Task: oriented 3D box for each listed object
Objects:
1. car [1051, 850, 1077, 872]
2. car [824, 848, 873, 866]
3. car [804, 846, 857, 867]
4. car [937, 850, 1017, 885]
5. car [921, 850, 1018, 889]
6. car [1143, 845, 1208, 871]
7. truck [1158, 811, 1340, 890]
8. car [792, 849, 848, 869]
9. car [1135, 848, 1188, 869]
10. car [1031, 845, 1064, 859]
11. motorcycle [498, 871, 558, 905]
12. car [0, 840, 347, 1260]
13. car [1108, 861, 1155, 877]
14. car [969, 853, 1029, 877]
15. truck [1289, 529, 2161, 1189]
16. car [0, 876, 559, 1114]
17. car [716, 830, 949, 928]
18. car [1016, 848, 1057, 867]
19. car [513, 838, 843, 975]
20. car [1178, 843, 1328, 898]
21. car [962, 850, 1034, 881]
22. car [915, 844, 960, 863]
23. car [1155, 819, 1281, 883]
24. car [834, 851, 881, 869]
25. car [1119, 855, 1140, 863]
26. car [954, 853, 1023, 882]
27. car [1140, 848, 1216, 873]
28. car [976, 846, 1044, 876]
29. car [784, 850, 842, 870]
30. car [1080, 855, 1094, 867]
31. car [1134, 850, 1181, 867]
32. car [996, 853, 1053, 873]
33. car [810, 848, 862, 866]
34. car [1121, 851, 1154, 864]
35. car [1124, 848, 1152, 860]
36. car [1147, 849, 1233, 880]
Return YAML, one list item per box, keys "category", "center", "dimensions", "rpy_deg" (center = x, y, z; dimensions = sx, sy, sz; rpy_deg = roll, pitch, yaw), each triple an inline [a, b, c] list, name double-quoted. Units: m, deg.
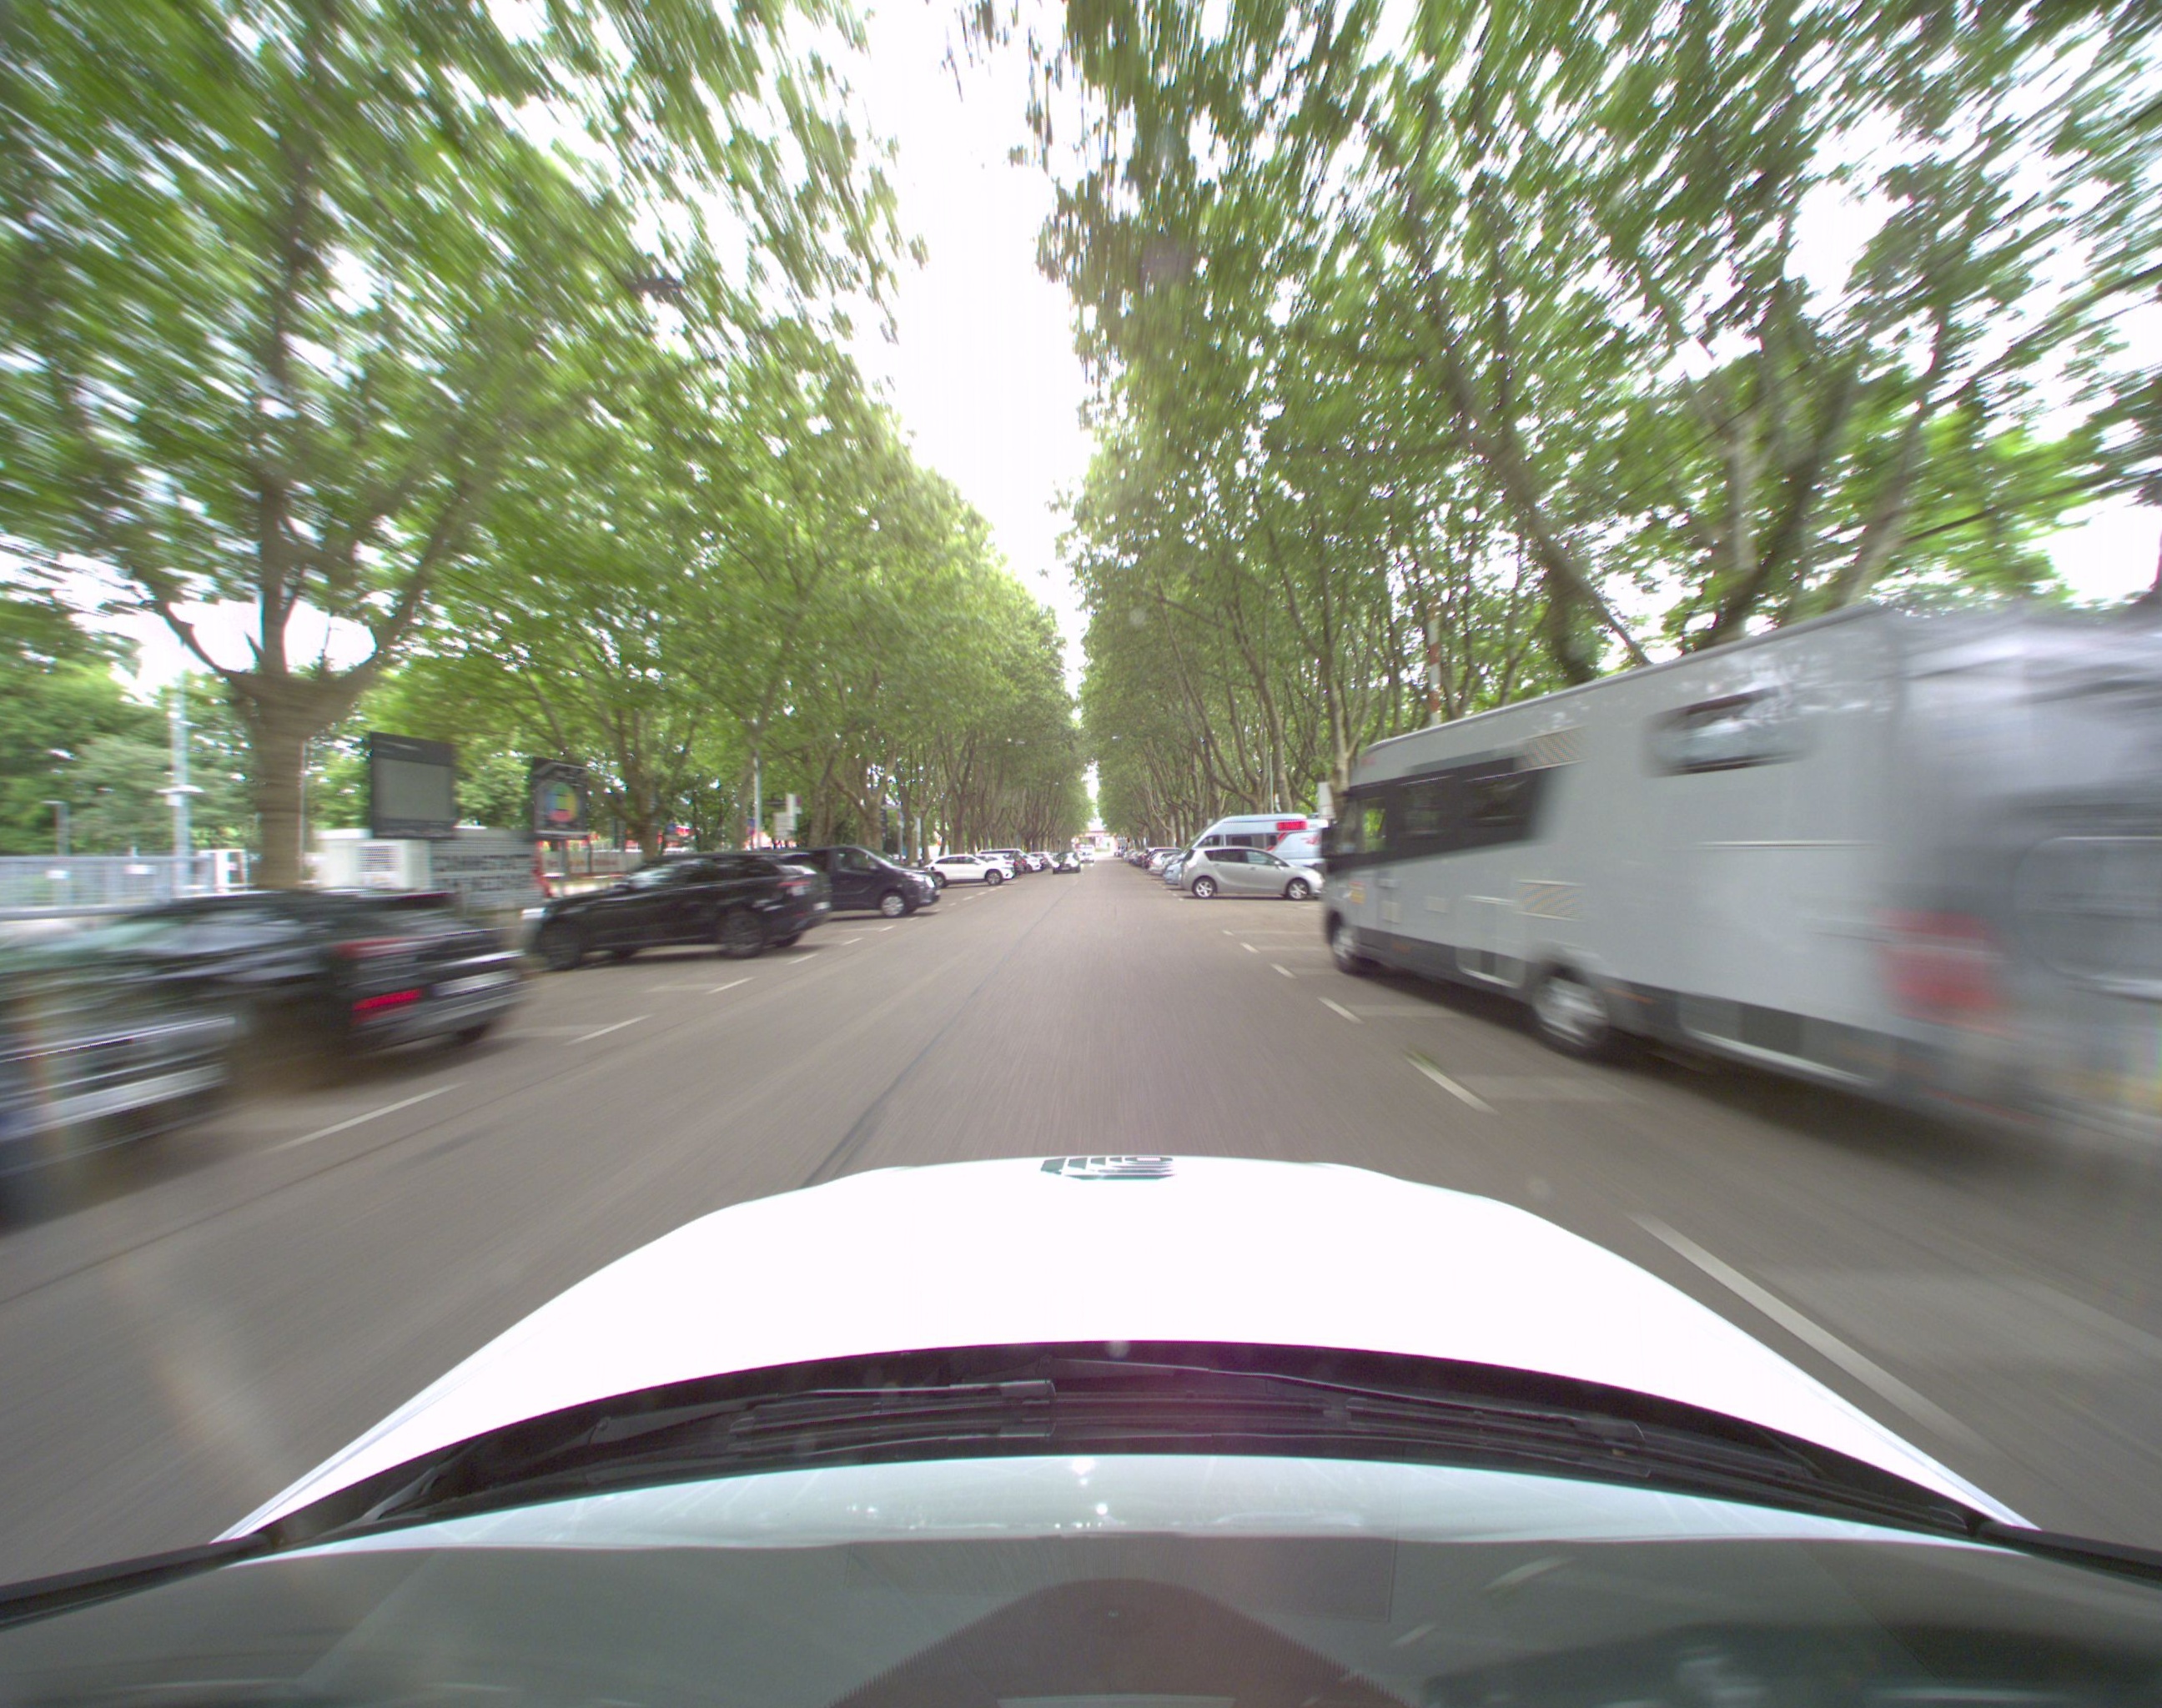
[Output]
- category: "car"
  center: [-1.206, 0.486, 56.837]
  dimensions: [1.650, 1.364, 4.109]
  rpy_deg: [-4, 0, -2]
- category: "car"
  center: [-31.187, 0.365, 109.443]
  dimensions: [5.980, 2.330, 2.000]
  rpy_deg: [-1, 0, 1]
- category: "car"
  center: [-31.426, 0.312, 102.092]
  dimensions: [5.980, 2.527, 2.000]
  rpy_deg: [-1, 0, 1]
- category: "car"
  center: [-6.062, 0.758, 47.744]
  dimensions: [4.327, 1.667, 1.999]
  rpy_deg: [-4, 0, -1]
- category: "car"
  center: [-5.402, 0.752, 39.914]
  dimensions: [4.366, 1.597, 1.999]
  rpy_deg: [-3, 0, -1]
- category: "car"
  center: [6.630, 0.275, 57.490]
  dimensions: [4.371, 1.755, 1.800]
  rpy_deg: [-1, 0, -1]
- category: "truck"
  center: [6.048, -0.127, 29.952]
  dimensions: [6.271, 2.715, 2.098]
  rpy_deg: [-1, 0, 1]
- category: "car"
  center: [-30.957, 0.585, 96.668]
  dimensions: [5.980, 2.252, 2.000]
  rpy_deg: [-1, 0, 1]
- category: "car"
  center: [6.173, 0.339, 62.684]
  dimensions: [3.974, 1.486, 1.694]
  rpy_deg: [-1, 0, -1]
- category: "car"
  center: [-4.005, -0.193, 97.465]
  dimensions: [3.816, 1.429, 1.693]
  rpy_deg: [-3, 0, -2]
- category: "motorcycle"
  center: [-20.046, 1.218, 29.550]
  dimensions: [1.648, 1.142, 0.740]
  rpy_deg: [-3, 0, 4]
- category: "car"
  center: [-6.893, 0.969, 4.190]
  dimensions: [4.560, 1.781, 1.799]
  rpy_deg: [-4, 1, 3]
- category: "car"
  center: [4.559, 1.363, 74.567]
  dimensions: [4.198, 1.451, 1.610]
  rpy_deg: [-1, 0, -1]
- category: "car"
  center: [-5.794, 0.769, 57.521]
  dimensions: [3.975, 1.413, 1.682]
  rpy_deg: [-4, 0, -1]
- category: "truck"
  center: [4.511, -0.002, 7.526]
  dimensions: [2.456, 2.937, 7.520]
  rpy_deg: [-1, 0, -7]
- category: "car"
  center: [-6.884, 1.088, 6.797]
  dimensions: [3.880, 1.494, 1.756]
  rpy_deg: [-4, 0, 4]
- category: "car"
  center: [-6.420, 0.616, 21.551]
  dimensions: [5.418, 2.127, 1.940]
  rpy_deg: [-4, 1, 0]
- category: "car"
  center: [-4.356, 0.313, 80.041]
  dimensions: [3.816, 1.627, 1.952]
  rpy_deg: [-3, 0, -2]
- category: "car"
  center: [-6.765, 0.840, 14.016]
  dimensions: [4.635, 1.820, 1.807]
  rpy_deg: [-5, 2, 2]
- category: "car"
  center: [5.204, 0.475, 25.124]
  dimensions: [4.320, 1.618, 1.806]
  rpy_deg: [0, 0, 4]
- category: "car"
  center: [-5.381, 0.713, 53.205]
  dimensions: [4.327, 1.667, 1.999]
  rpy_deg: [-4, 0, -1]
- category: "car"
  center: [-20.041, -0.082, 113.828]
  dimensions: [5.764, 2.597, 2.001]
  rpy_deg: [-1, 0, 2]
- category: "car"
  center: [5.869, -0.127, 35.332]
  dimensions: [5.208, 2.689, 1.958]
  rpy_deg: [0, 0, 2]
- category: "car"
  center: [-31.291, 0.841, 114.109]
  dimensions: [5.980, 2.527, 2.000]
  rpy_deg: [-1, 0, 1]
- category: "car"
  center: [9.757, 1.053, 164.109]
  dimensions: [4.154, 1.442, 1.734]
  rpy_deg: [-1, 0, 6]
- category: "car"
  center: [-5.726, 0.838, 50.631]
  dimensions: [3.975, 1.475, 1.842]
  rpy_deg: [-4, 0, -1]
- category: "car"
  center: [5.978, 0.393, 50.508]
  dimensions: [4.488, 1.526, 1.702]
  rpy_deg: [-1, 0, -1]
- category: "car"
  center: [-5.430, 0.523, 62.730]
  dimensions: [4.877, 2.019, 1.920]
  rpy_deg: [-3, 0, 0]
- category: "car"
  center: [-31.017, 0.644, 94.315]
  dimensions: [5.980, 2.252, 2.000]
  rpy_deg: [-1, 0, 1]
- category: "car"
  center: [0.724, 0.930, 105.606]
  dimensions: [1.683, 1.471, 3.839]
  rpy_deg: [-3, 0, 0]
- category: "car"
  center: [6.355, 0.368, 67.894]
  dimensions: [3.815, 1.389, 1.694]
  rpy_deg: [-1, 0, -1]
- category: "car"
  center: [-4.673, 0.741, 67.858]
  dimensions: [4.426, 1.452, 1.777]
  rpy_deg: [-3, 0, 5]
- category: "car"
  center: [-31.419, 0.374, 104.462]
  dimensions: [5.980, 2.240, 2.000]
  rpy_deg: [-1, 0, 1]
- category: "car"
  center: [7.289, 0.398, 105.134]
  dimensions: [4.156, 1.596, 1.853]
  rpy_deg: [-1, 0, -2]
- category: "car"
  center: [7.766, 0.002, 110.324]
  dimensions: [3.636, 1.667, 1.518]
  rpy_deg: [-1, 0, -2]
- category: "car"
  center: [5.342, 0.509, 40.302]
  dimensions: [4.102, 1.429, 1.704]
  rpy_deg: [1, 0, 3]
